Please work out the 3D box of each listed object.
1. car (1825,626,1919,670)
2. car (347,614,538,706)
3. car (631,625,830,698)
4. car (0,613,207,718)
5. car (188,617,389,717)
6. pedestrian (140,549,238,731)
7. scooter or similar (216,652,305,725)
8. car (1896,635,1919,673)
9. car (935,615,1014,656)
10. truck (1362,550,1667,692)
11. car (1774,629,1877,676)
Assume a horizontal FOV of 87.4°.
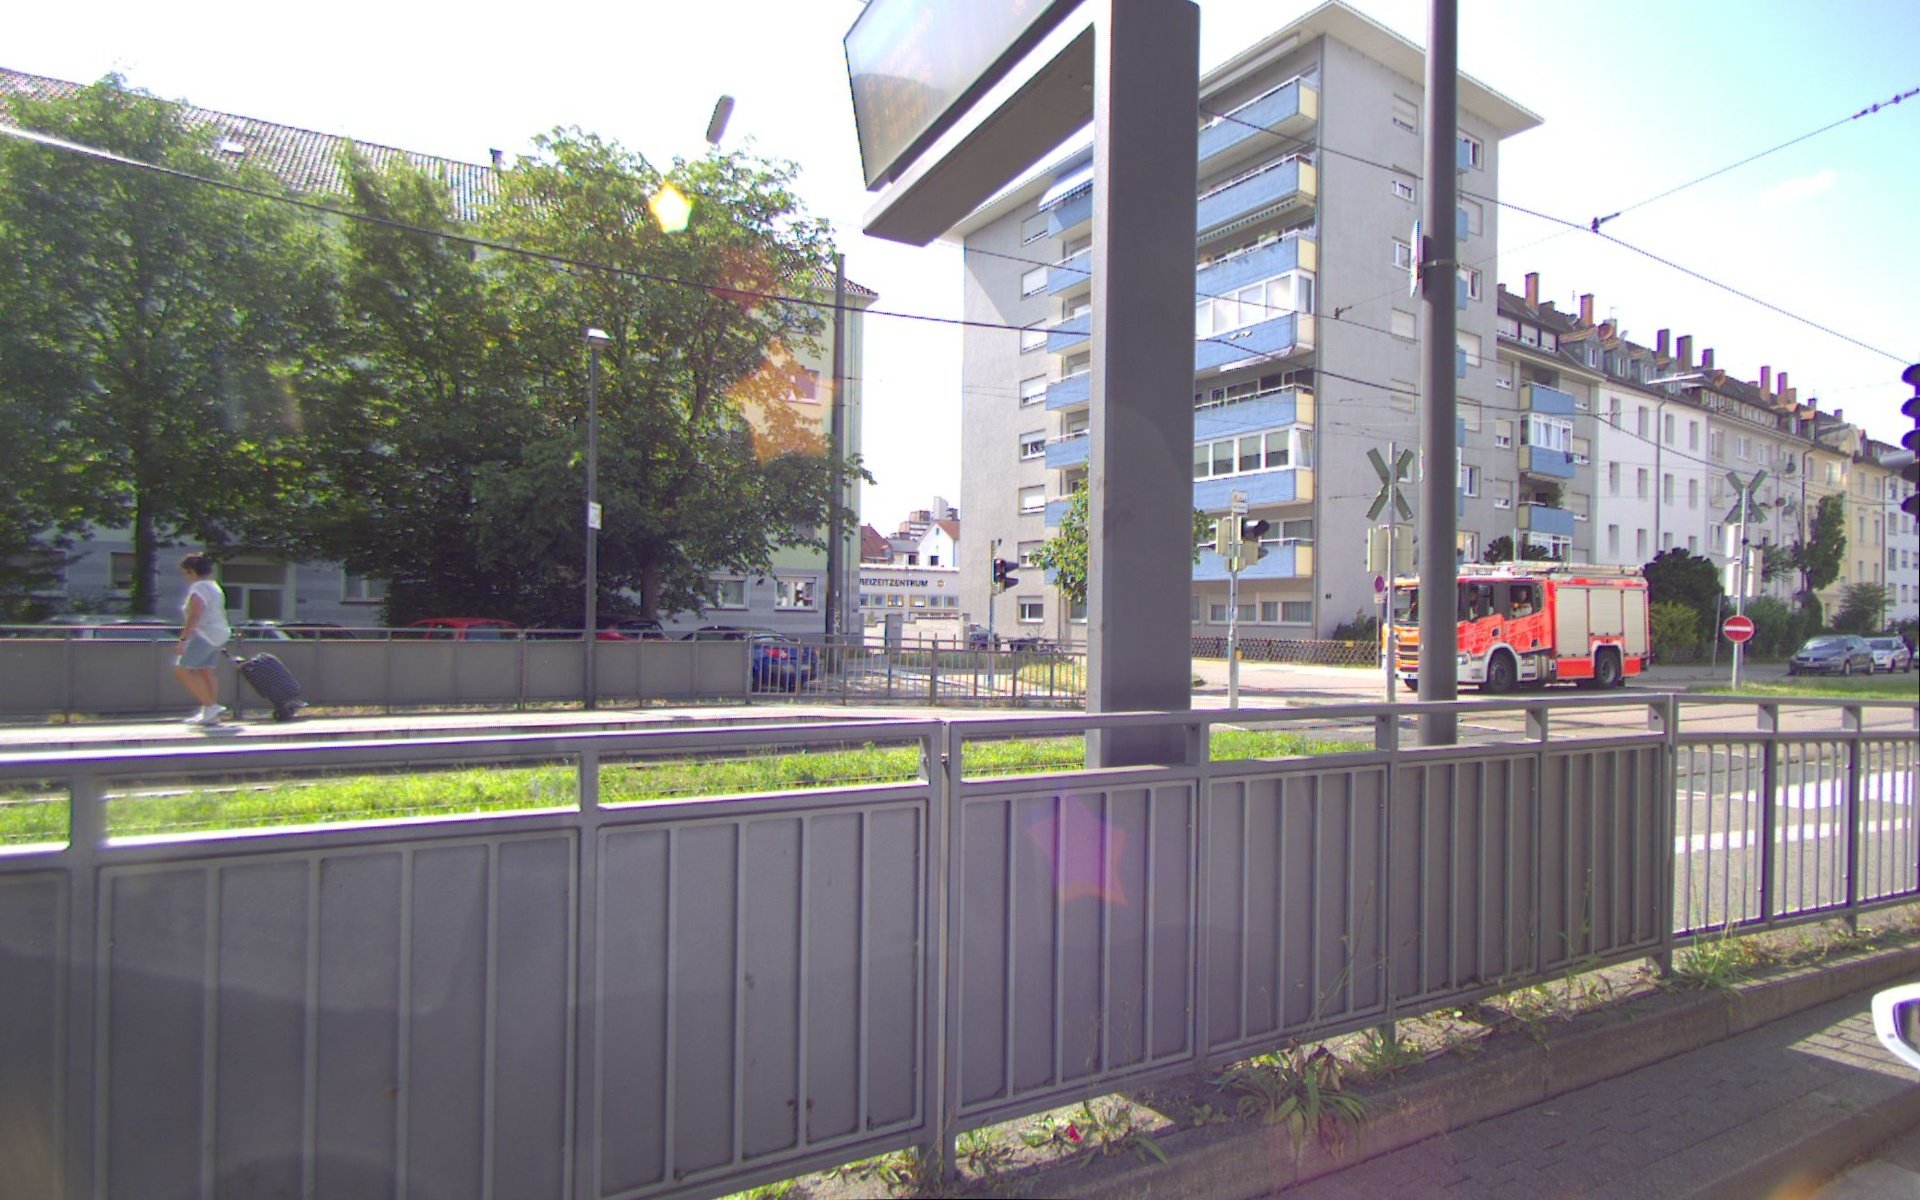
[{"bbox_3d":[39.259,2.073,43.217,3.956,1.734,1.983,2,0,-32],"label":"car"},{"bbox_3d":[-9.985,1.087,19.323,3.603,1.600,1.645,0,-1,32],"label":"car"},{"bbox_3d":[-4.988,1.277,21.809,4.055,1.413,1.608,0,-1,24],"label":"car"},{"bbox_3d":[-14.208,1.000,16.557,3.959,1.534,1.605,0,-1,33],"label":"car"},{"bbox_3d":[-12.061,1.121,18.000,3.603,1.600,1.645,0,-1,32],"label":"car"},{"bbox_3d":[-7.457,0.384,9.743,0.624,1.686,0.657,1,-1,-29],"label":"pedestrian"},{"bbox_3d":[-7.161,0.895,10.306,0.692,0.708,0.440,1,-1,-29],"label":"scooter or similar"},{"bbox_3d":[47.369,2.660,48.773,3.960,1.734,1.981,2,0,-35],"label":"car"},{"bbox_3d":[0.648,1.640,47.545,1.976,1.706,3.968,2,0,-30],"label":"car"},{"bbox_3d":[14.388,0.594,25.870,8.273,3.228,2.587,2,0,-27],"label":"truck"},{"bbox_3d":[34.274,2.071,39.782,3.956,1.667,1.983,2,0,-32],"label":"car"}]
